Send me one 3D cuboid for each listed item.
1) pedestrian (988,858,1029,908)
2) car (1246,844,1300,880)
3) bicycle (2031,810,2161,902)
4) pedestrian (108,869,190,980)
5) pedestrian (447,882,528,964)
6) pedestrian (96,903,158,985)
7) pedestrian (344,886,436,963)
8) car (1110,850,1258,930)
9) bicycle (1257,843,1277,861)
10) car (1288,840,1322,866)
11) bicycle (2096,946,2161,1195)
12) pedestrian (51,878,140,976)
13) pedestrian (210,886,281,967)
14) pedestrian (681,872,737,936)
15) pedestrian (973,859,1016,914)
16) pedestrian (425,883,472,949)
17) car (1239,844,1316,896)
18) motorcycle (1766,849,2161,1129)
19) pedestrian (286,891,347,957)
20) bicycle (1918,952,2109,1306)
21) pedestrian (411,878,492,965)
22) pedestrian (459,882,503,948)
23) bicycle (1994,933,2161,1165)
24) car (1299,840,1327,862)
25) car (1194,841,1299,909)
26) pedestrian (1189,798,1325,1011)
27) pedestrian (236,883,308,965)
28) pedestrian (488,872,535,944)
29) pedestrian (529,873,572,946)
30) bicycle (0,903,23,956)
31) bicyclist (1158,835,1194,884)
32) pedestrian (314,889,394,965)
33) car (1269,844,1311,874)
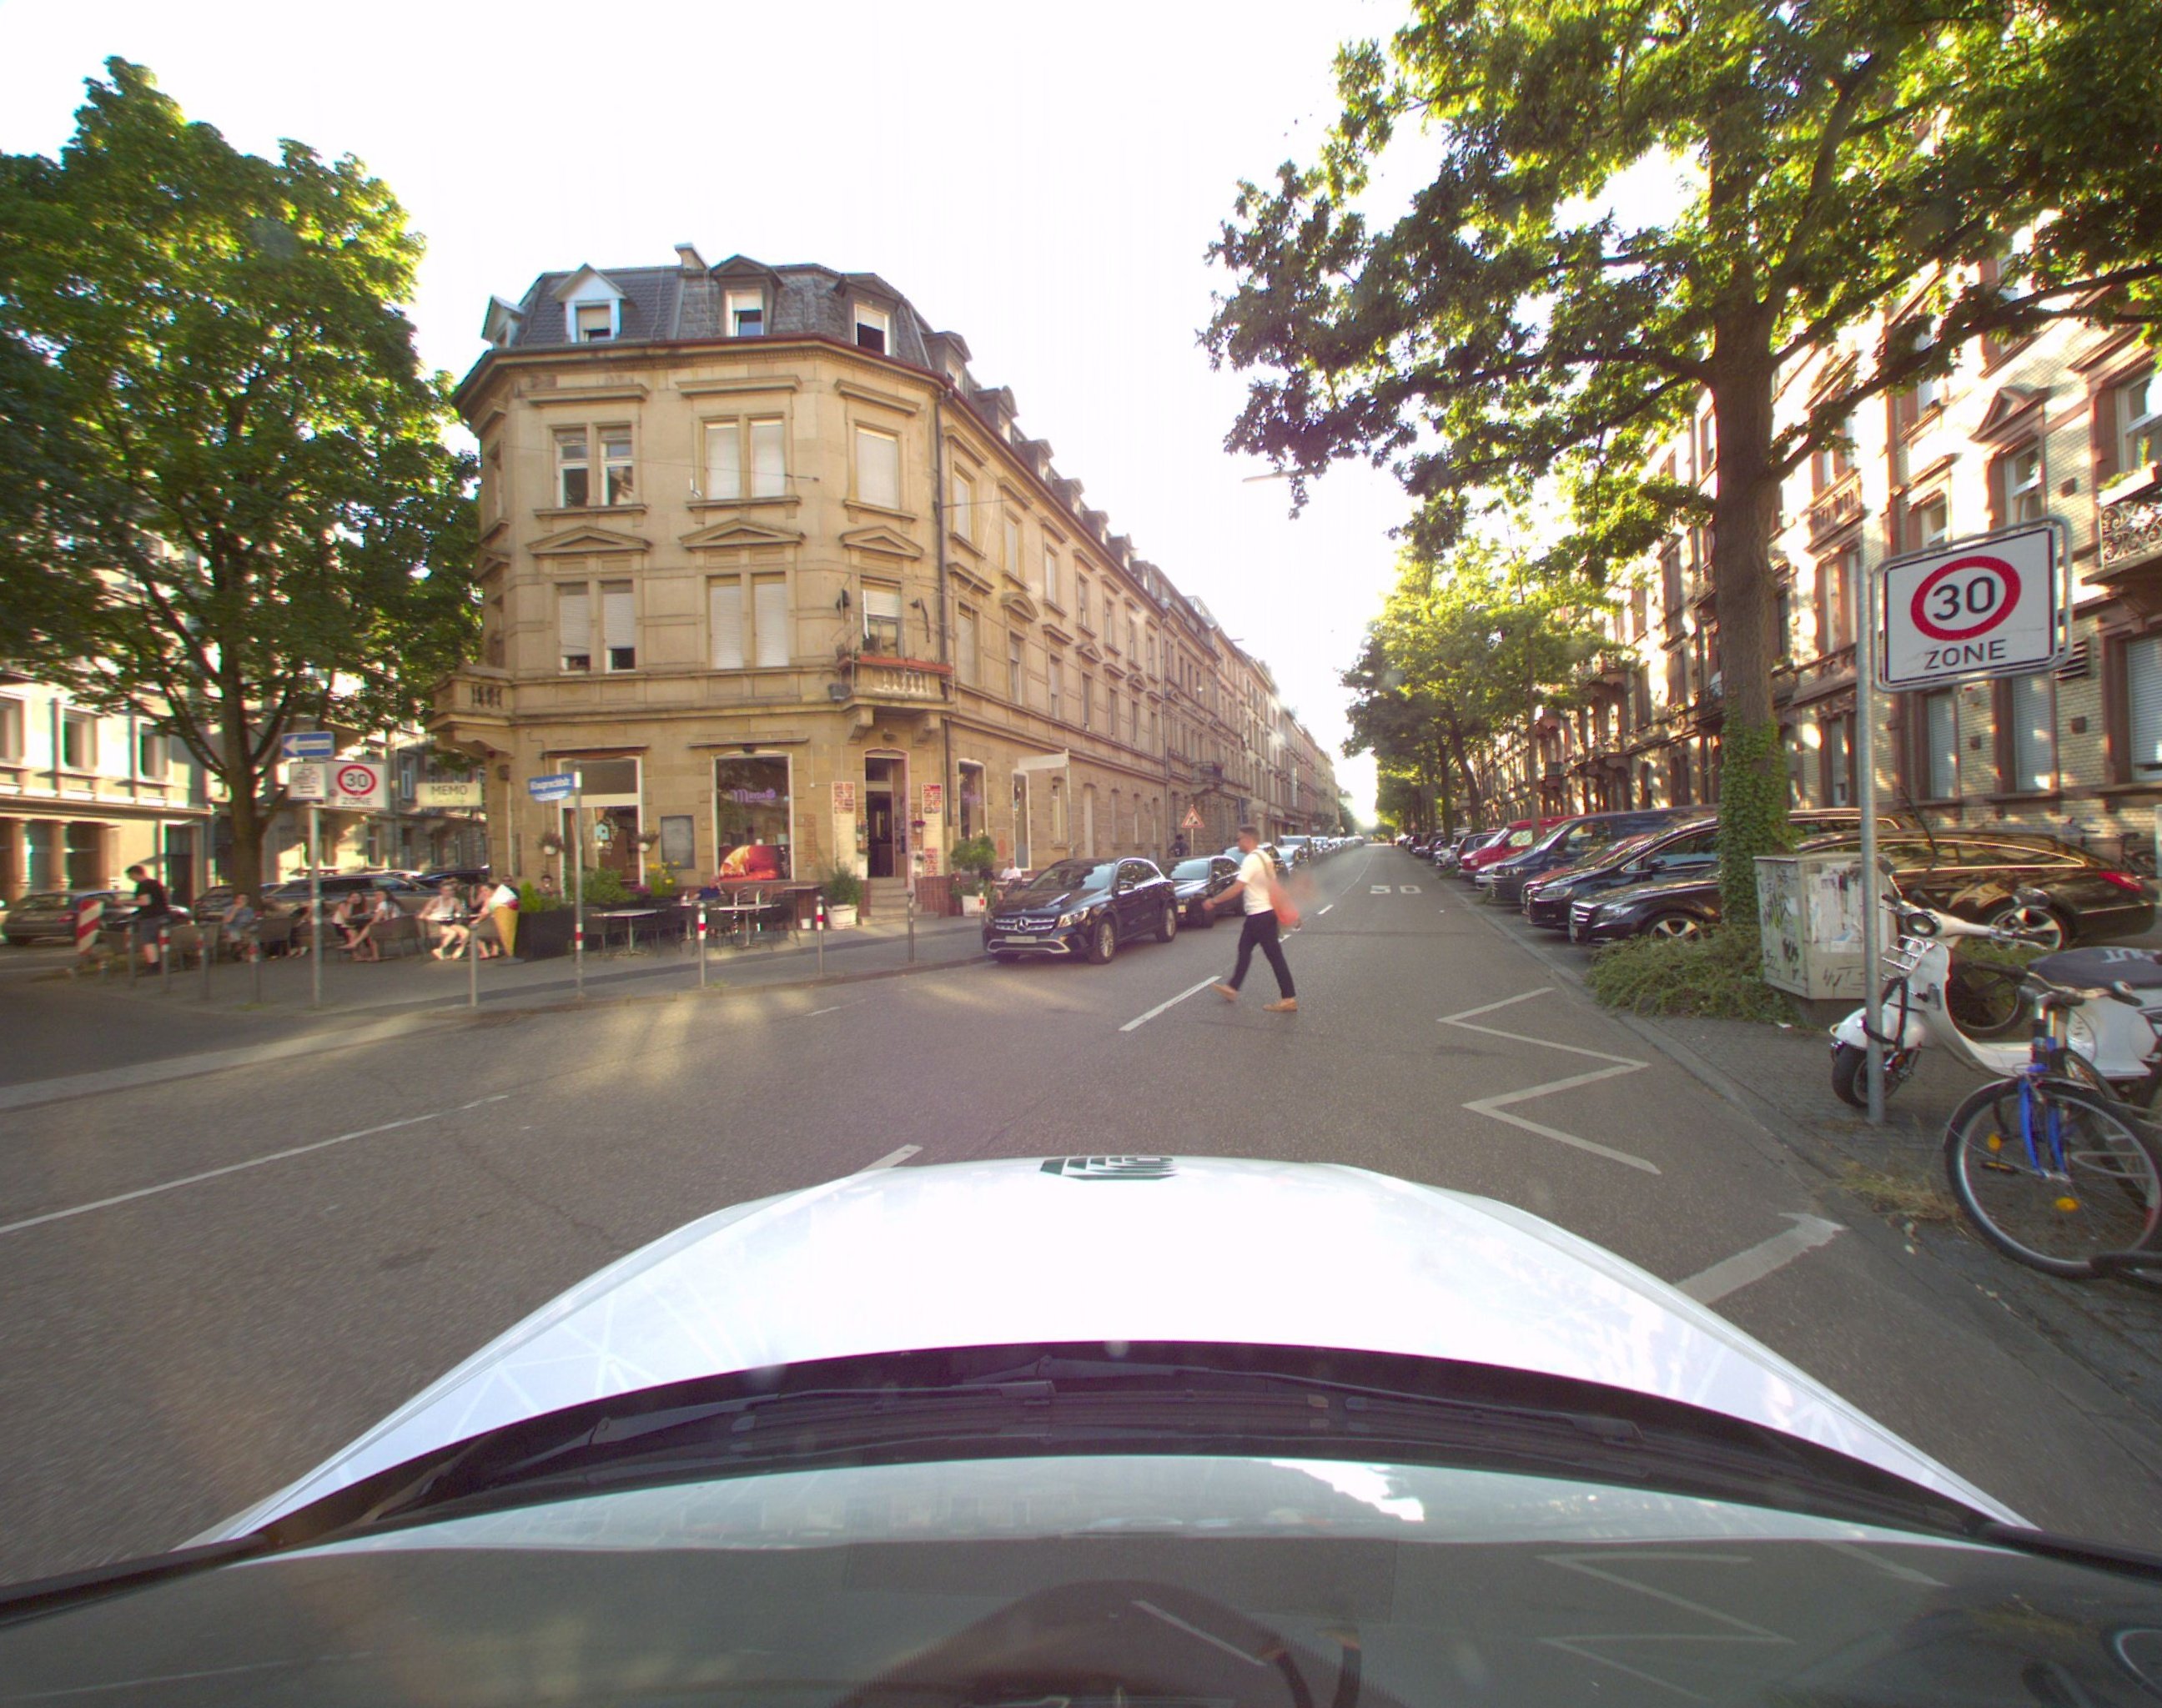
[{"bbox_3d":[-1.827,0.725,20.582,0.719,1.214,0.760,-2,0,18],"label":"pedestrian"},{"bbox_3d":[8.996,0.332,37.911,1.743,1.501,4.082,-3,0,23],"label":"car"},{"bbox_3d":[14.789,-0.003,11.480,0.664,1.171,2.607,-5,-1,23],"label":"bicycle"},{"bbox_3d":[-15.715,1.162,13.739,0.564,1.770,0.772,-4,0,33],"label":"pedestrian"},{"bbox_3d":[-9.941,1.147,13.663,0.738,1.289,0.745,-2,0,11],"label":"pedestrian"},{"bbox_3d":[-16.298,1.520,13.914,0.498,1.320,0.576,-2,1,31],"label":"pedestrian"},{"bbox_3d":[-11.971,1.208,14.123,1.013,1.248,0.753,-2,1,18],"label":"pedestrian"},{"bbox_3d":[2.397,0.702,17.773,1.742,1.451,4.577,-3,-1,26],"label":"car"},{"bbox_3d":[14.404,-0.198,63.005,1.033,1.318,4.020,-1,1,20],"label":"bicycle"},{"bbox_3d":[14.619,-0.109,53.047,1.739,1.608,4.407,0,1,21],"label":"car"},{"bbox_3d":[4.038,0.848,2.609,0.350,0.927,1.534,-5,-2,28],"label":"bicycle"},{"bbox_3d":[-17.758,1.295,14.686,0.660,1.669,0.771,-4,0,19],"label":"pedestrian"},{"bbox_3d":[-15.937,1.364,15.541,0.659,1.441,0.772,-4,0,33],"label":"pedestrian"},{"bbox_3d":[-7.464,0.998,16.381,0.723,1.214,0.757,-2,0,1],"label":"pedestrian"},{"bbox_3d":[-2.053,0.777,19.431,0.719,1.259,0.760,-2,0,18],"label":"pedestrian"},{"bbox_3d":[-12.493,1.217,16.093,0.476,1.248,0.513,-2,0,18],"label":"pedestrian"},{"bbox_3d":[6.647,0.476,27.247,1.743,1.501,4.083,-3,0,24],"label":"car"},{"bbox_3d":[4.816,0.646,4.111,1.881,1.234,0.689,-5,-1,21],"label":"motorcycle"},{"bbox_3d":[-15.014,1.361,15.998,0.659,1.215,0.682,-4,0,31],"label":"pedestrian"},{"bbox_3d":[3.620,0.934,3.153,1.420,0.927,0.350,-3,-2,-40],"label":"bicycle"},{"bbox_3d":[-10.738,1.138,13.910,0.750,1.411,0.729,-2,0,9],"label":"pedestrian"},{"bbox_3d":[-11.683,1.183,15.861,0.476,1.248,0.436,-2,0,18],"label":"pedestrian"},{"bbox_3d":[5.228,0.791,3.382,1.914,0.927,0.356,-5,-2,20],"label":"bicycle"},{"bbox_3d":[16.969,-0.234,59.448,1.744,1.467,4.020,0,1,19],"label":"car"},{"bbox_3d":[4.668,0.497,22.426,1.742,1.600,4.577,-3,0,25],"label":"car"},{"bbox_3d":[1.719,0.466,7.866,1.105,1.898,0.847,-2,0,20],"label":"pedestrian"},{"bbox_3d":[-15.011,1.284,15.115,0.659,1.441,0.772,-4,0,33],"label":"pedestrian"},{"bbox_3d":[-11.777,1.114,16.861,0.564,1.431,0.483,-2,0,10],"label":"pedestrian"},{"bbox_3d":[-10.373,1.079,15.925,0.477,1.367,0.435,-2,0,12],"label":"pedestrian"},{"bbox_3d":[-25.901,1.775,18.061,3.132,1.180,0.748,-2,0,-15],"label":"bicycle"},{"bbox_3d":[3.716,0.205,31.741,0.987,1.789,1.214,-3,0,24],"label":"bicyclist"},{"bbox_3d":[-12.831,1.279,14.385,0.698,1.248,0.753,-2,1,18],"label":"pedestrian"},{"bbox_3d":[10.861,0.221,42.116,1.578,1.475,3.720,0,1,22],"label":"car"}]
